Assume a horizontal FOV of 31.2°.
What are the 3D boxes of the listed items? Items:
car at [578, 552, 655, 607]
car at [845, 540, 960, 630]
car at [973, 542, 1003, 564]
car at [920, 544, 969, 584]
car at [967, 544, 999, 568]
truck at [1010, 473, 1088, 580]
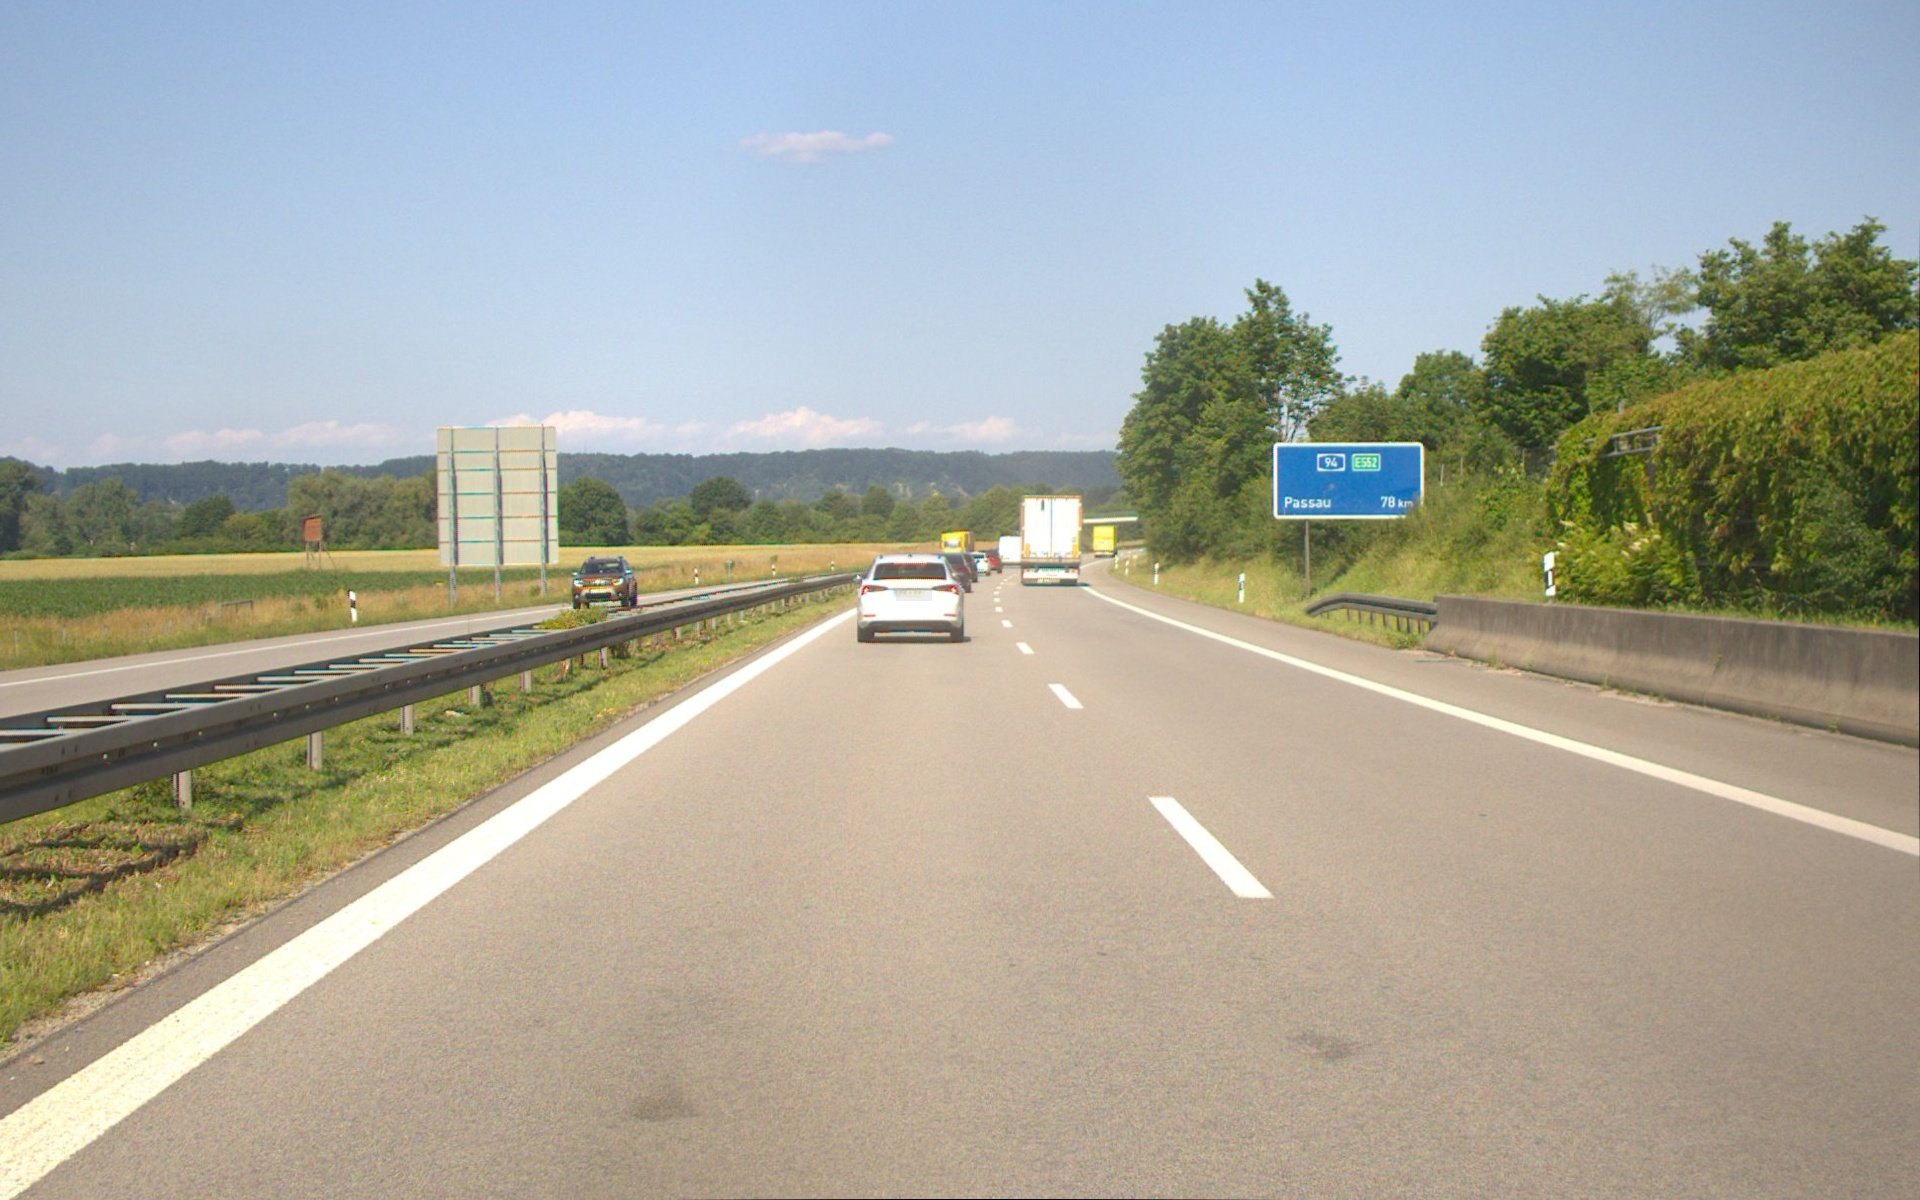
[{"bbox_3d":[-11.220,-0.700,112.623,1.993,1.656,4.776,-2,1,0],"label":"car"},{"bbox_3d":[-0.951,-0.292,58.166,1.840,1.416,5.255,1,1,0],"label":"car"},{"bbox_3d":[1.857,-3.102,226.785,1.771,1.416,4.364,0,1,3],"label":"car"},{"bbox_3d":[-0.587,-1.347,126.416,1.771,1.416,4.495,0,1,-1],"label":"car"},{"bbox_3d":[1.399,-2.651,207.657,1.771,1.416,4.365,0,1,2],"label":"car"},{"bbox_3d":[3.919,-3.269,153.823,3.152,4.596,8.906,-1,1,0],"label":"truck"}]
